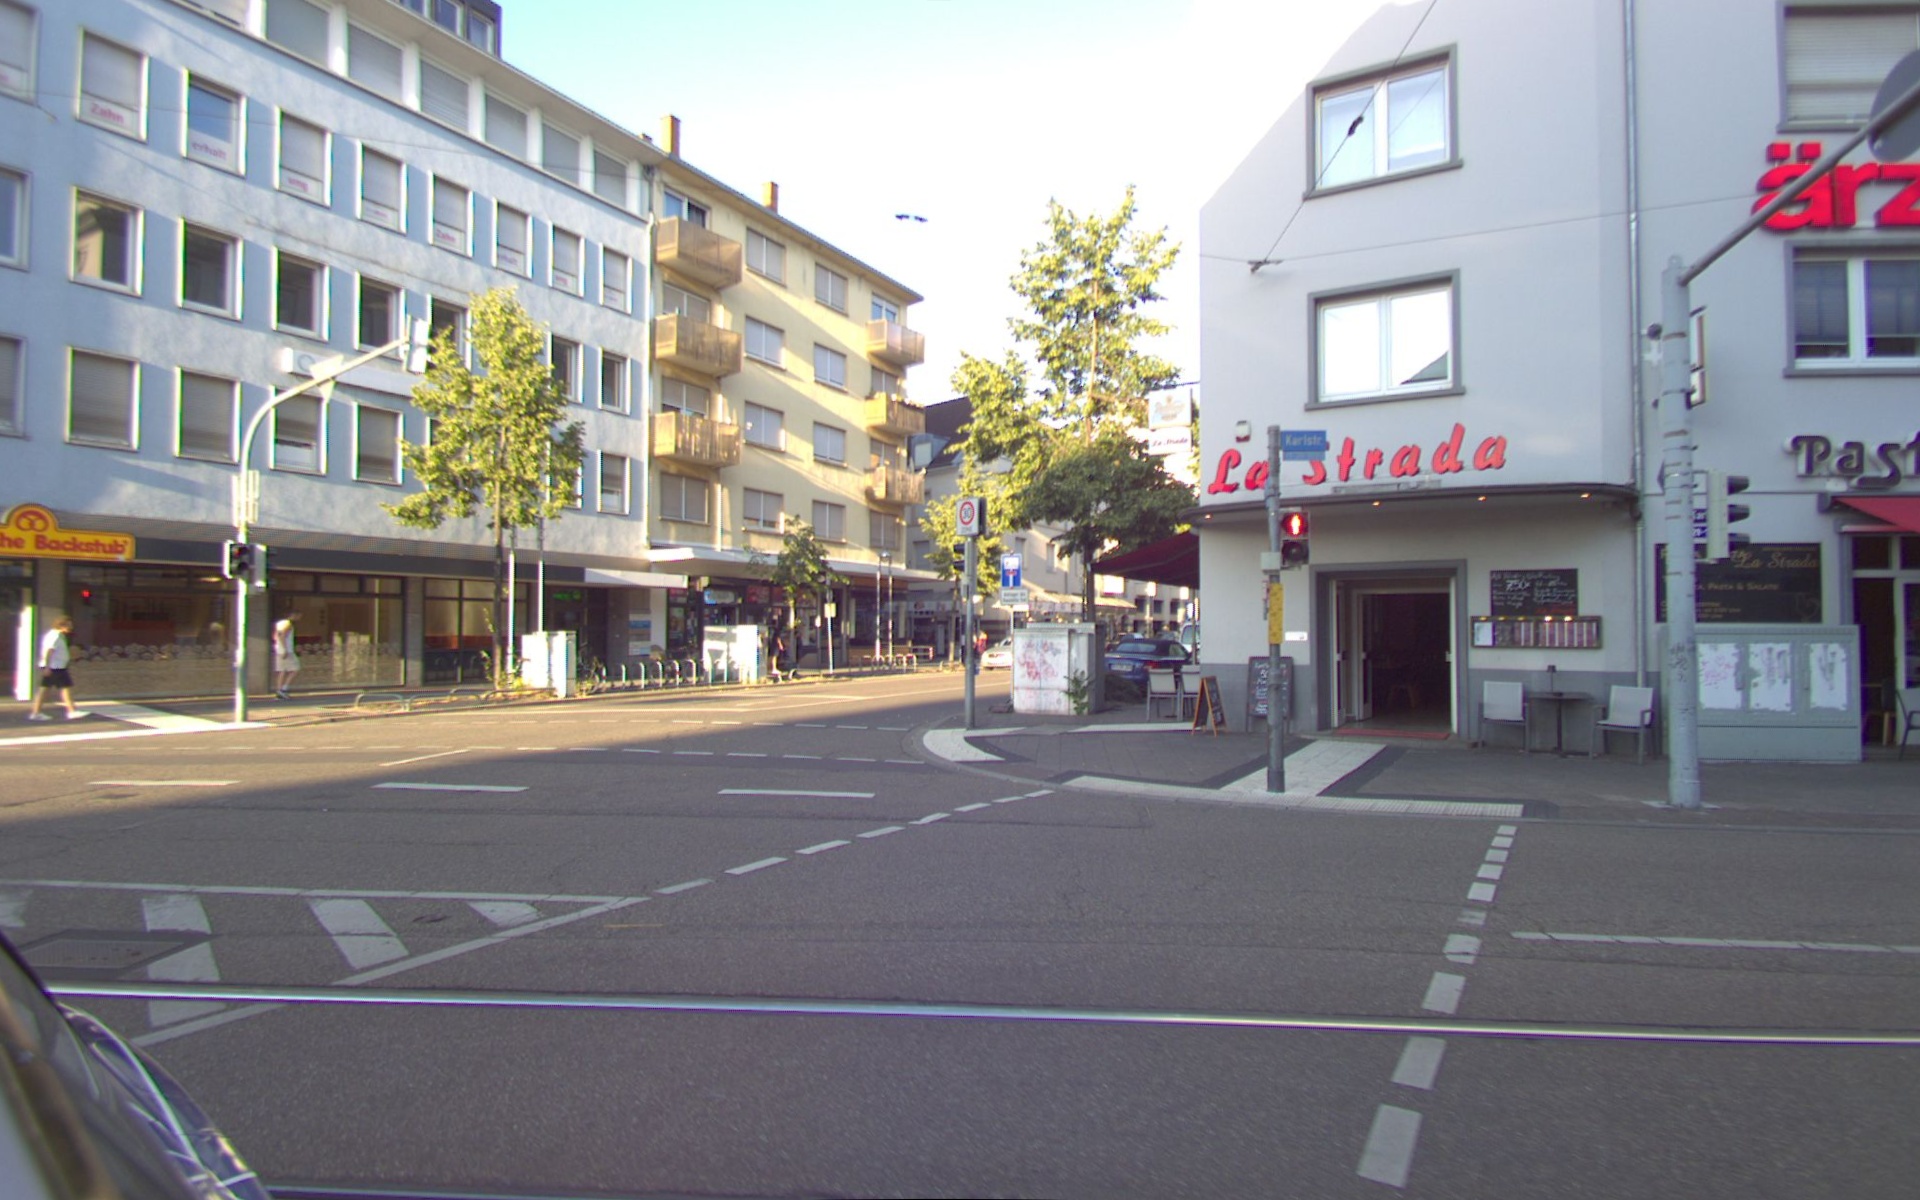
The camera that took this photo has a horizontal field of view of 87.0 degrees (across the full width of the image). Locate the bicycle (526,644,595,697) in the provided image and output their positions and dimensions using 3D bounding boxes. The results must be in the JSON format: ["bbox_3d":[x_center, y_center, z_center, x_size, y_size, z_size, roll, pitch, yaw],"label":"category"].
[{"bbox_3d":[-9.496,1.647,24.046,1.912,1.213,0.465,-2,-3,32],"label":"bicycle"}]

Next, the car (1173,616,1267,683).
[{"bbox_3d":[7.763,1.443,29.921,1.911,1.801,4.111,0,-2,26],"label":"car"}]

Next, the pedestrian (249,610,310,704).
[{"bbox_3d":[-14.062,1.158,20.945,0.977,1.901,0.809,1,-1,-32],"label":"pedestrian"}]

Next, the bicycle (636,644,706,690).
[{"bbox_3d":[-7.816,1.796,27.359,1.904,1.213,0.467,-1,-3,20],"label":"bicycle"}]

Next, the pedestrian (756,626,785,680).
[{"bbox_3d":[-6.579,1.843,35.120,0.707,1.821,0.643,-4,-5,30],"label":"pedestrian"}]

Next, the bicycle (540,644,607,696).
[{"bbox_3d":[-9.384,1.678,24.548,1.912,1.213,0.465,-2,-3,32],"label":"bicycle"}]

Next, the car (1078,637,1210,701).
[{"bbox_3d":[4.583,1.626,24.676,1.913,1.397,4.338,0,-2,29],"label":"car"}]

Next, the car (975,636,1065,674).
[{"bbox_3d":[2.422,2.157,39.852,1.798,1.388,4.507,-3,-4,28],"label":"car"}]

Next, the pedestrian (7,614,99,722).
[{"bbox_3d":[-15.121,1.112,16.894,0.977,1.739,0.809,1,-1,-32],"label":"pedestrian"}]

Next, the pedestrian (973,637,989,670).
[{"bbox_3d":[0.970,2.485,46.880,0.540,1.542,0.548,-2,-4,35],"label":"pedestrian"}]

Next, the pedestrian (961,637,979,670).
[{"bbox_3d":[0.465,2.489,47.335,0.540,1.542,0.643,-2,-3,35],"label":"pedestrian"}]
